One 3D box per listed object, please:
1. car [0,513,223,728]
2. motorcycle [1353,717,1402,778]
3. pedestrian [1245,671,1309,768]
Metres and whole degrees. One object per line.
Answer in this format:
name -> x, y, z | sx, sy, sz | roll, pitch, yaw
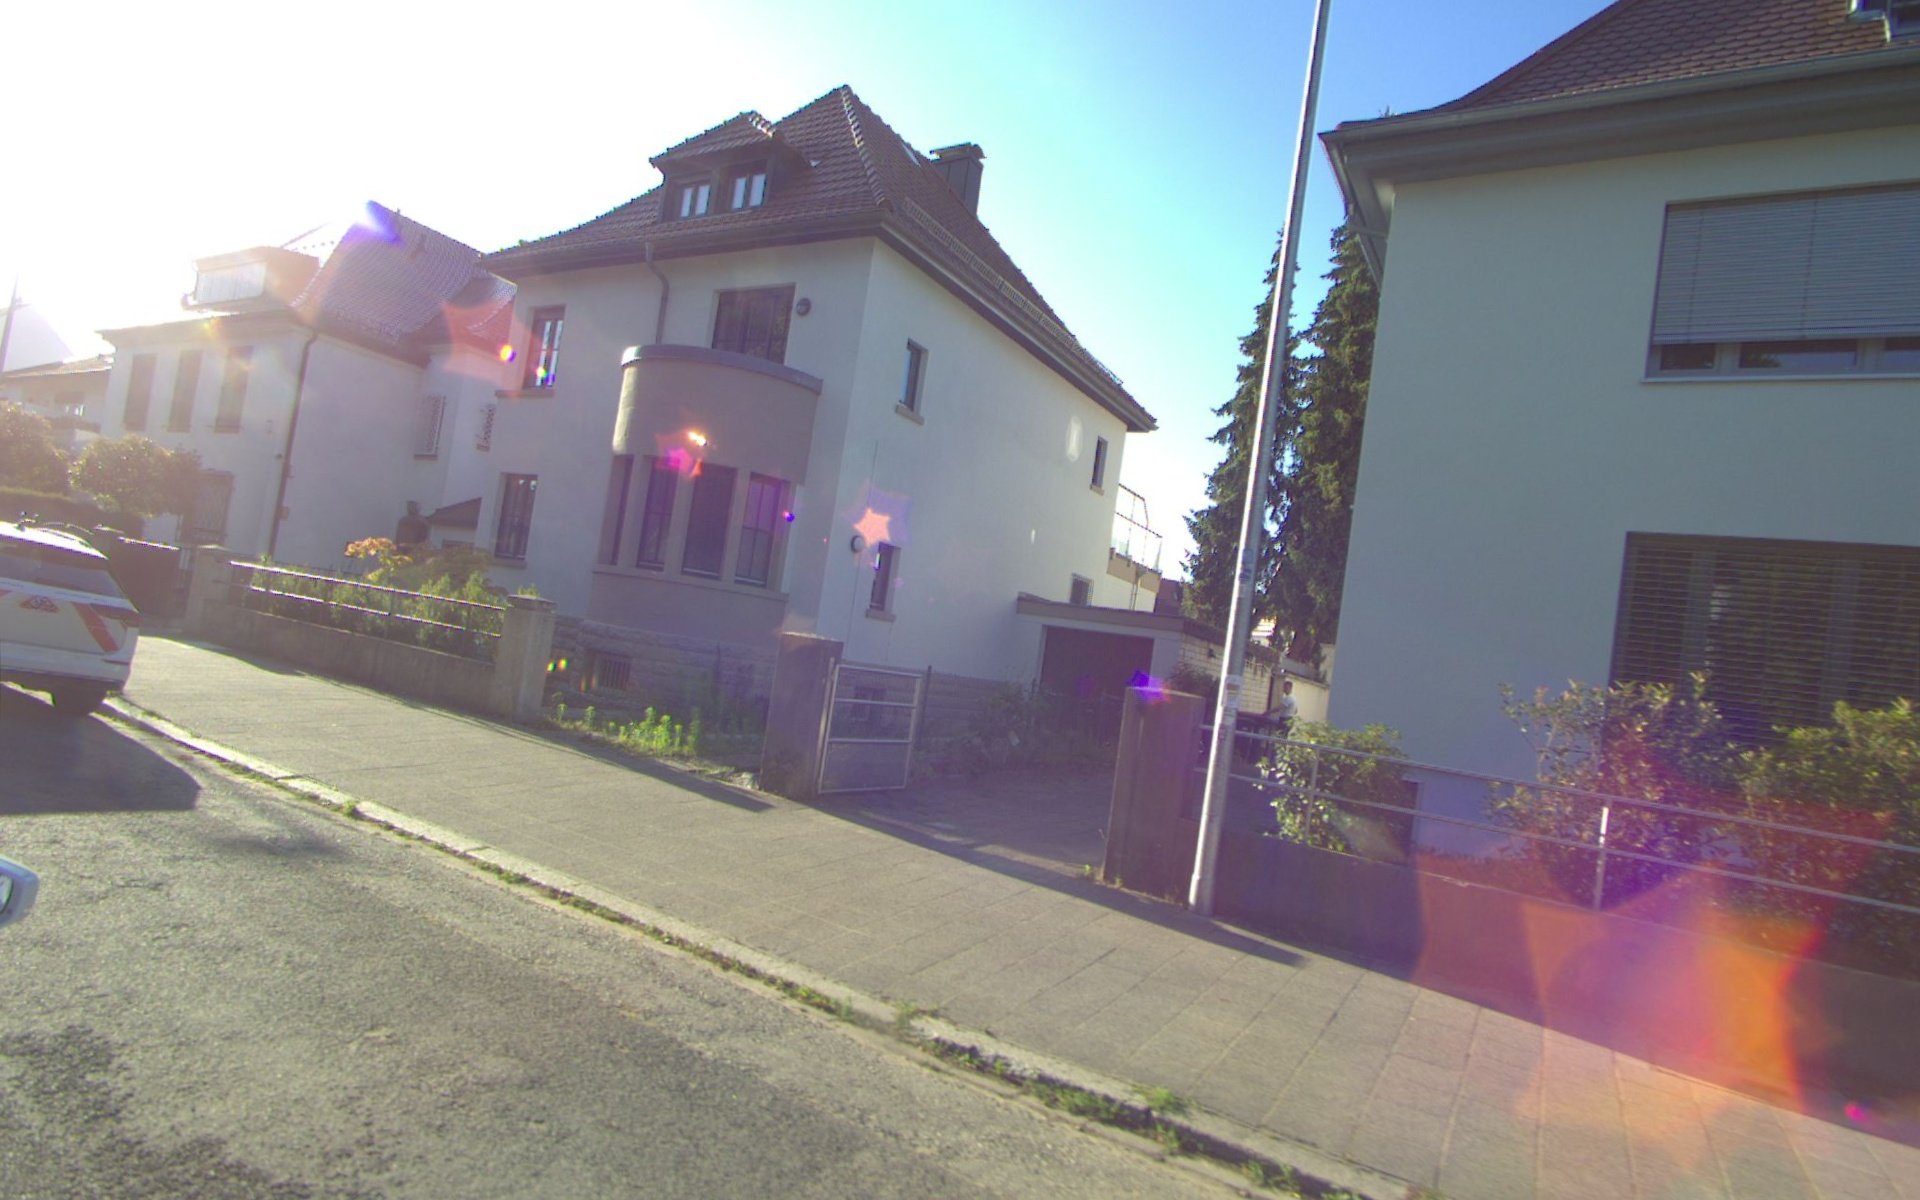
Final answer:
car -> -8.862, -0.061, 8.842 | 4.472, 1.477, 2.004 | 7, -7, 30
motorcycle -> 10.177, 3.577, 24.476 | 0.730, 1.307, 1.875 | 7, -3, 30
pedestrian -> 6.649, 2.501, 21.088 | 0.882, 1.866, 0.880 | 7, -2, 32
